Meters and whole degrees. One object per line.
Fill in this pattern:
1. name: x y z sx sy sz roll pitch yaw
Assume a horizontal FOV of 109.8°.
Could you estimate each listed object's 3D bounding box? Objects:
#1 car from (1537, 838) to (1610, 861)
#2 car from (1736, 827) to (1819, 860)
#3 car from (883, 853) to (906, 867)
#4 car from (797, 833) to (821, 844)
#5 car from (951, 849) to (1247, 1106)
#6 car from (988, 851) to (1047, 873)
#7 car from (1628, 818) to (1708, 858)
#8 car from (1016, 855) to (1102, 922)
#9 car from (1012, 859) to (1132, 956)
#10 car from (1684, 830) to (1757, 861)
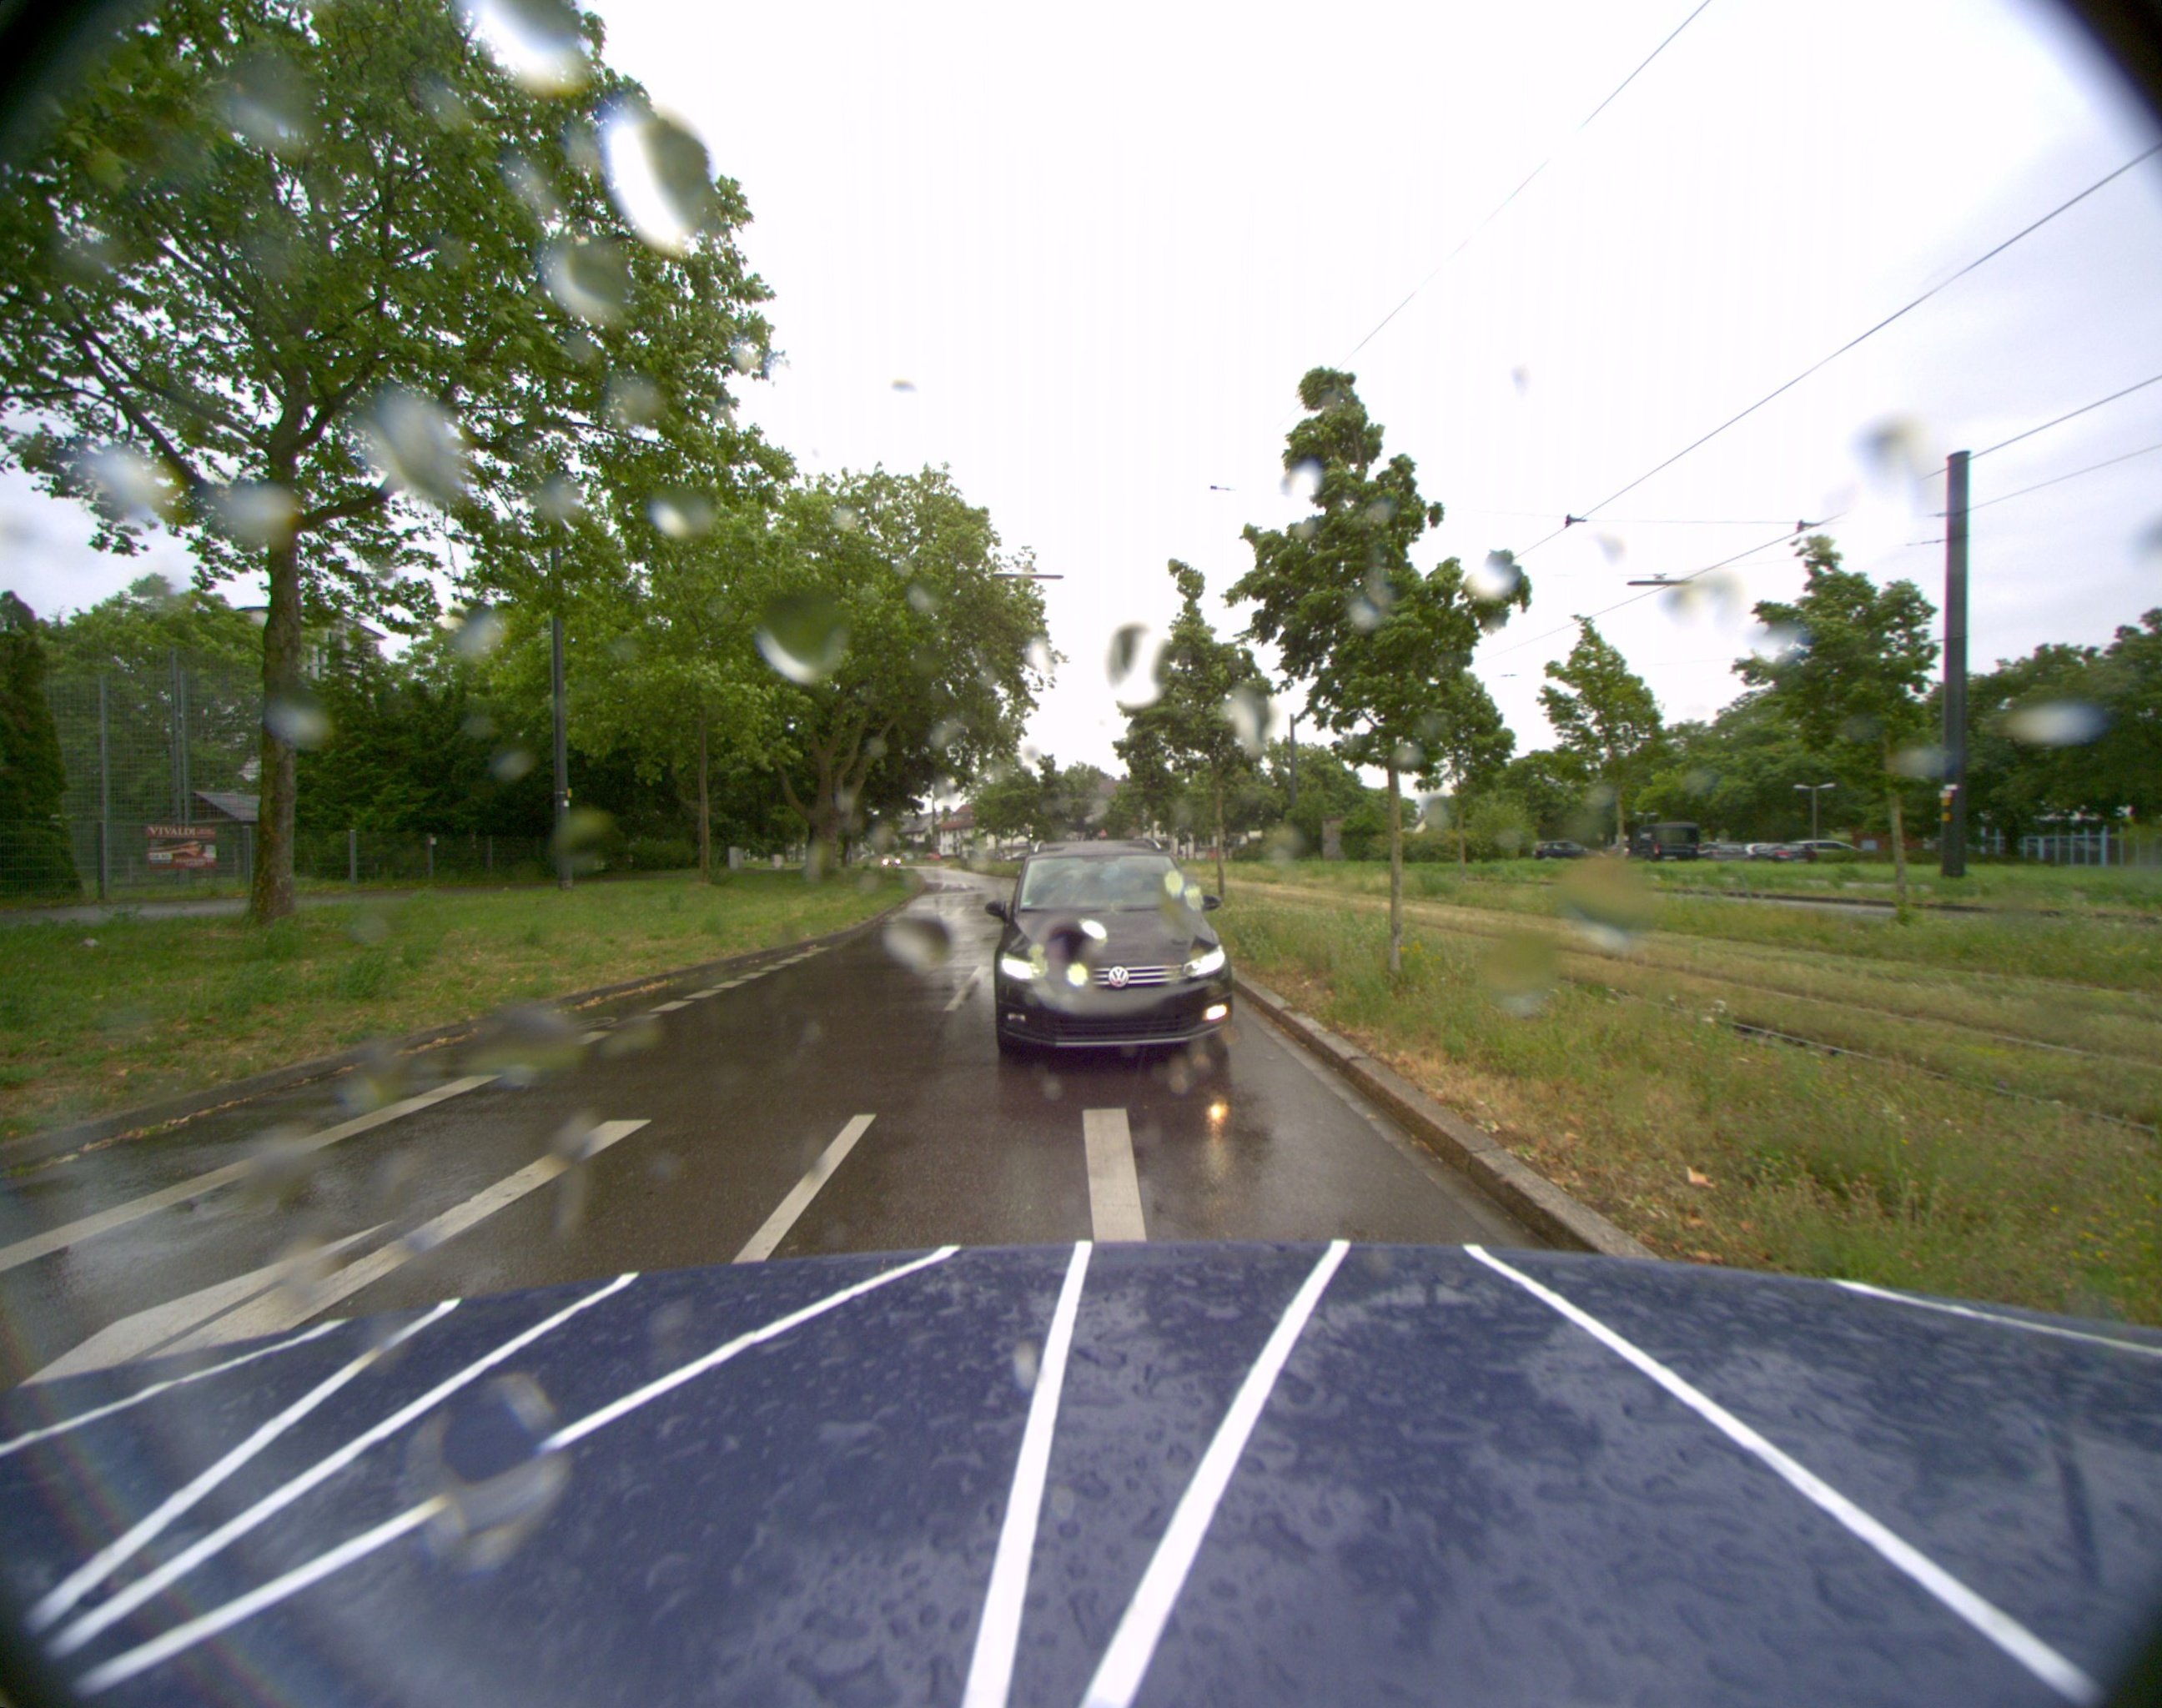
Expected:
1. car: 34.785 -0.292 53.788 4.172 1.474 1.786 -2 1 27
2. car: 36.585 -0.574 40.055 2.057 1.564 5.024 -2 1 29
3. car: -21.895 0.686 89.245 1.875 1.608 3.801 -3 1 -24
4. car: -51.593 -2.968 143.965 4.004 1.816 1.996 -3 1 -24
5. car: 0.144 0.790 7.194 1.866 1.592 4.524 -2 1 1
6. car: -4.664 0.563 55.554 4.046 1.412 1.674 -2 1 -10
7. car: 31.985 -0.884 41.611 2.307 2.002 5.125 -2 1 24
8. car: -0.648 0.767 18.951 1.789 1.396 3.791 -2 1 -6
9. car: -0.205 0.835 13.673 1.788 1.355 3.996 -2 1 -2
10. car: 34.627 -0.487 41.295 1.752 1.522 4.856 -2 1 24
